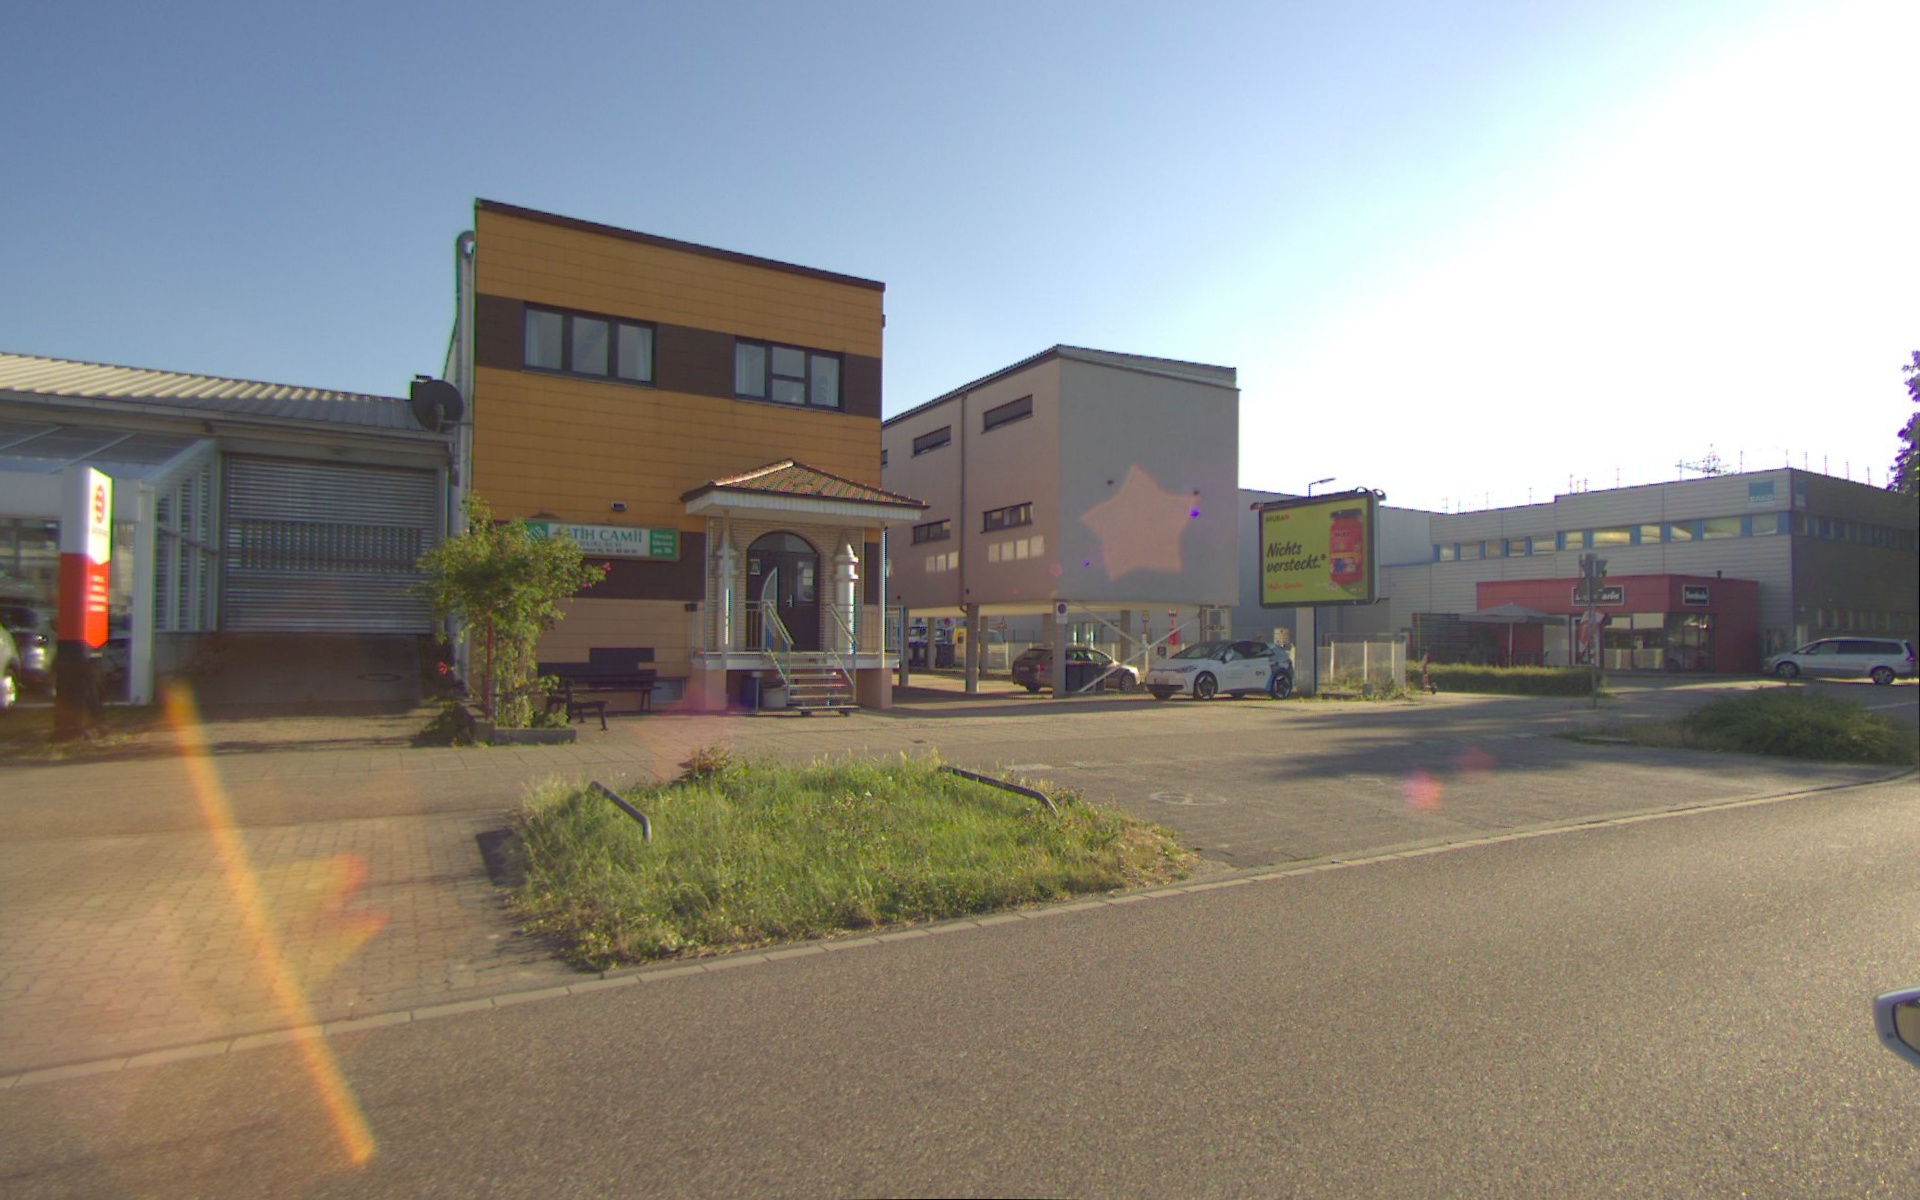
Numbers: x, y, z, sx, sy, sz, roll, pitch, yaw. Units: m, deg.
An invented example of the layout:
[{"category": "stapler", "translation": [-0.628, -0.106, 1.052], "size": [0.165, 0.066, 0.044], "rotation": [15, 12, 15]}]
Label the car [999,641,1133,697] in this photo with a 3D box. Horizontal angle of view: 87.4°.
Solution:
[{"category": "car", "translation": [3.481, 2.243, 32.861], "size": [3.953, 1.639, 1.984], "rotation": [3, -1, -30]}]

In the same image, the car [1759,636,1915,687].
[{"category": "car", "translation": [34.715, 2.377, 39.847], "size": [4.581, 1.764, 1.988], "rotation": [1, -2, 45]}]

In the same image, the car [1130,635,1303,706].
[{"category": "car", "translation": [6.796, 1.800, 26.528], "size": [4.289, 1.598, 1.984], "rotation": [0, 0, -31]}]

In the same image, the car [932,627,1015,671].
[{"category": "car", "translation": [0.714, 2.731, 57.017], "size": [2.220, 2.291, 5.027], "rotation": [2, -1, -33]}]

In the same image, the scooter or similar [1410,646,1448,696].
[{"category": "scooter or similar", "translation": [12.264, 1.847, 26.307], "size": [0.613, 1.216, 1.390], "rotation": [1, -1, 14]}]

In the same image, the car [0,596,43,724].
[{"category": "car", "translation": [-12.424, 0.711, 11.571], "size": [1.866, 1.576, 3.892], "rotation": [2, -1, -30]}]
